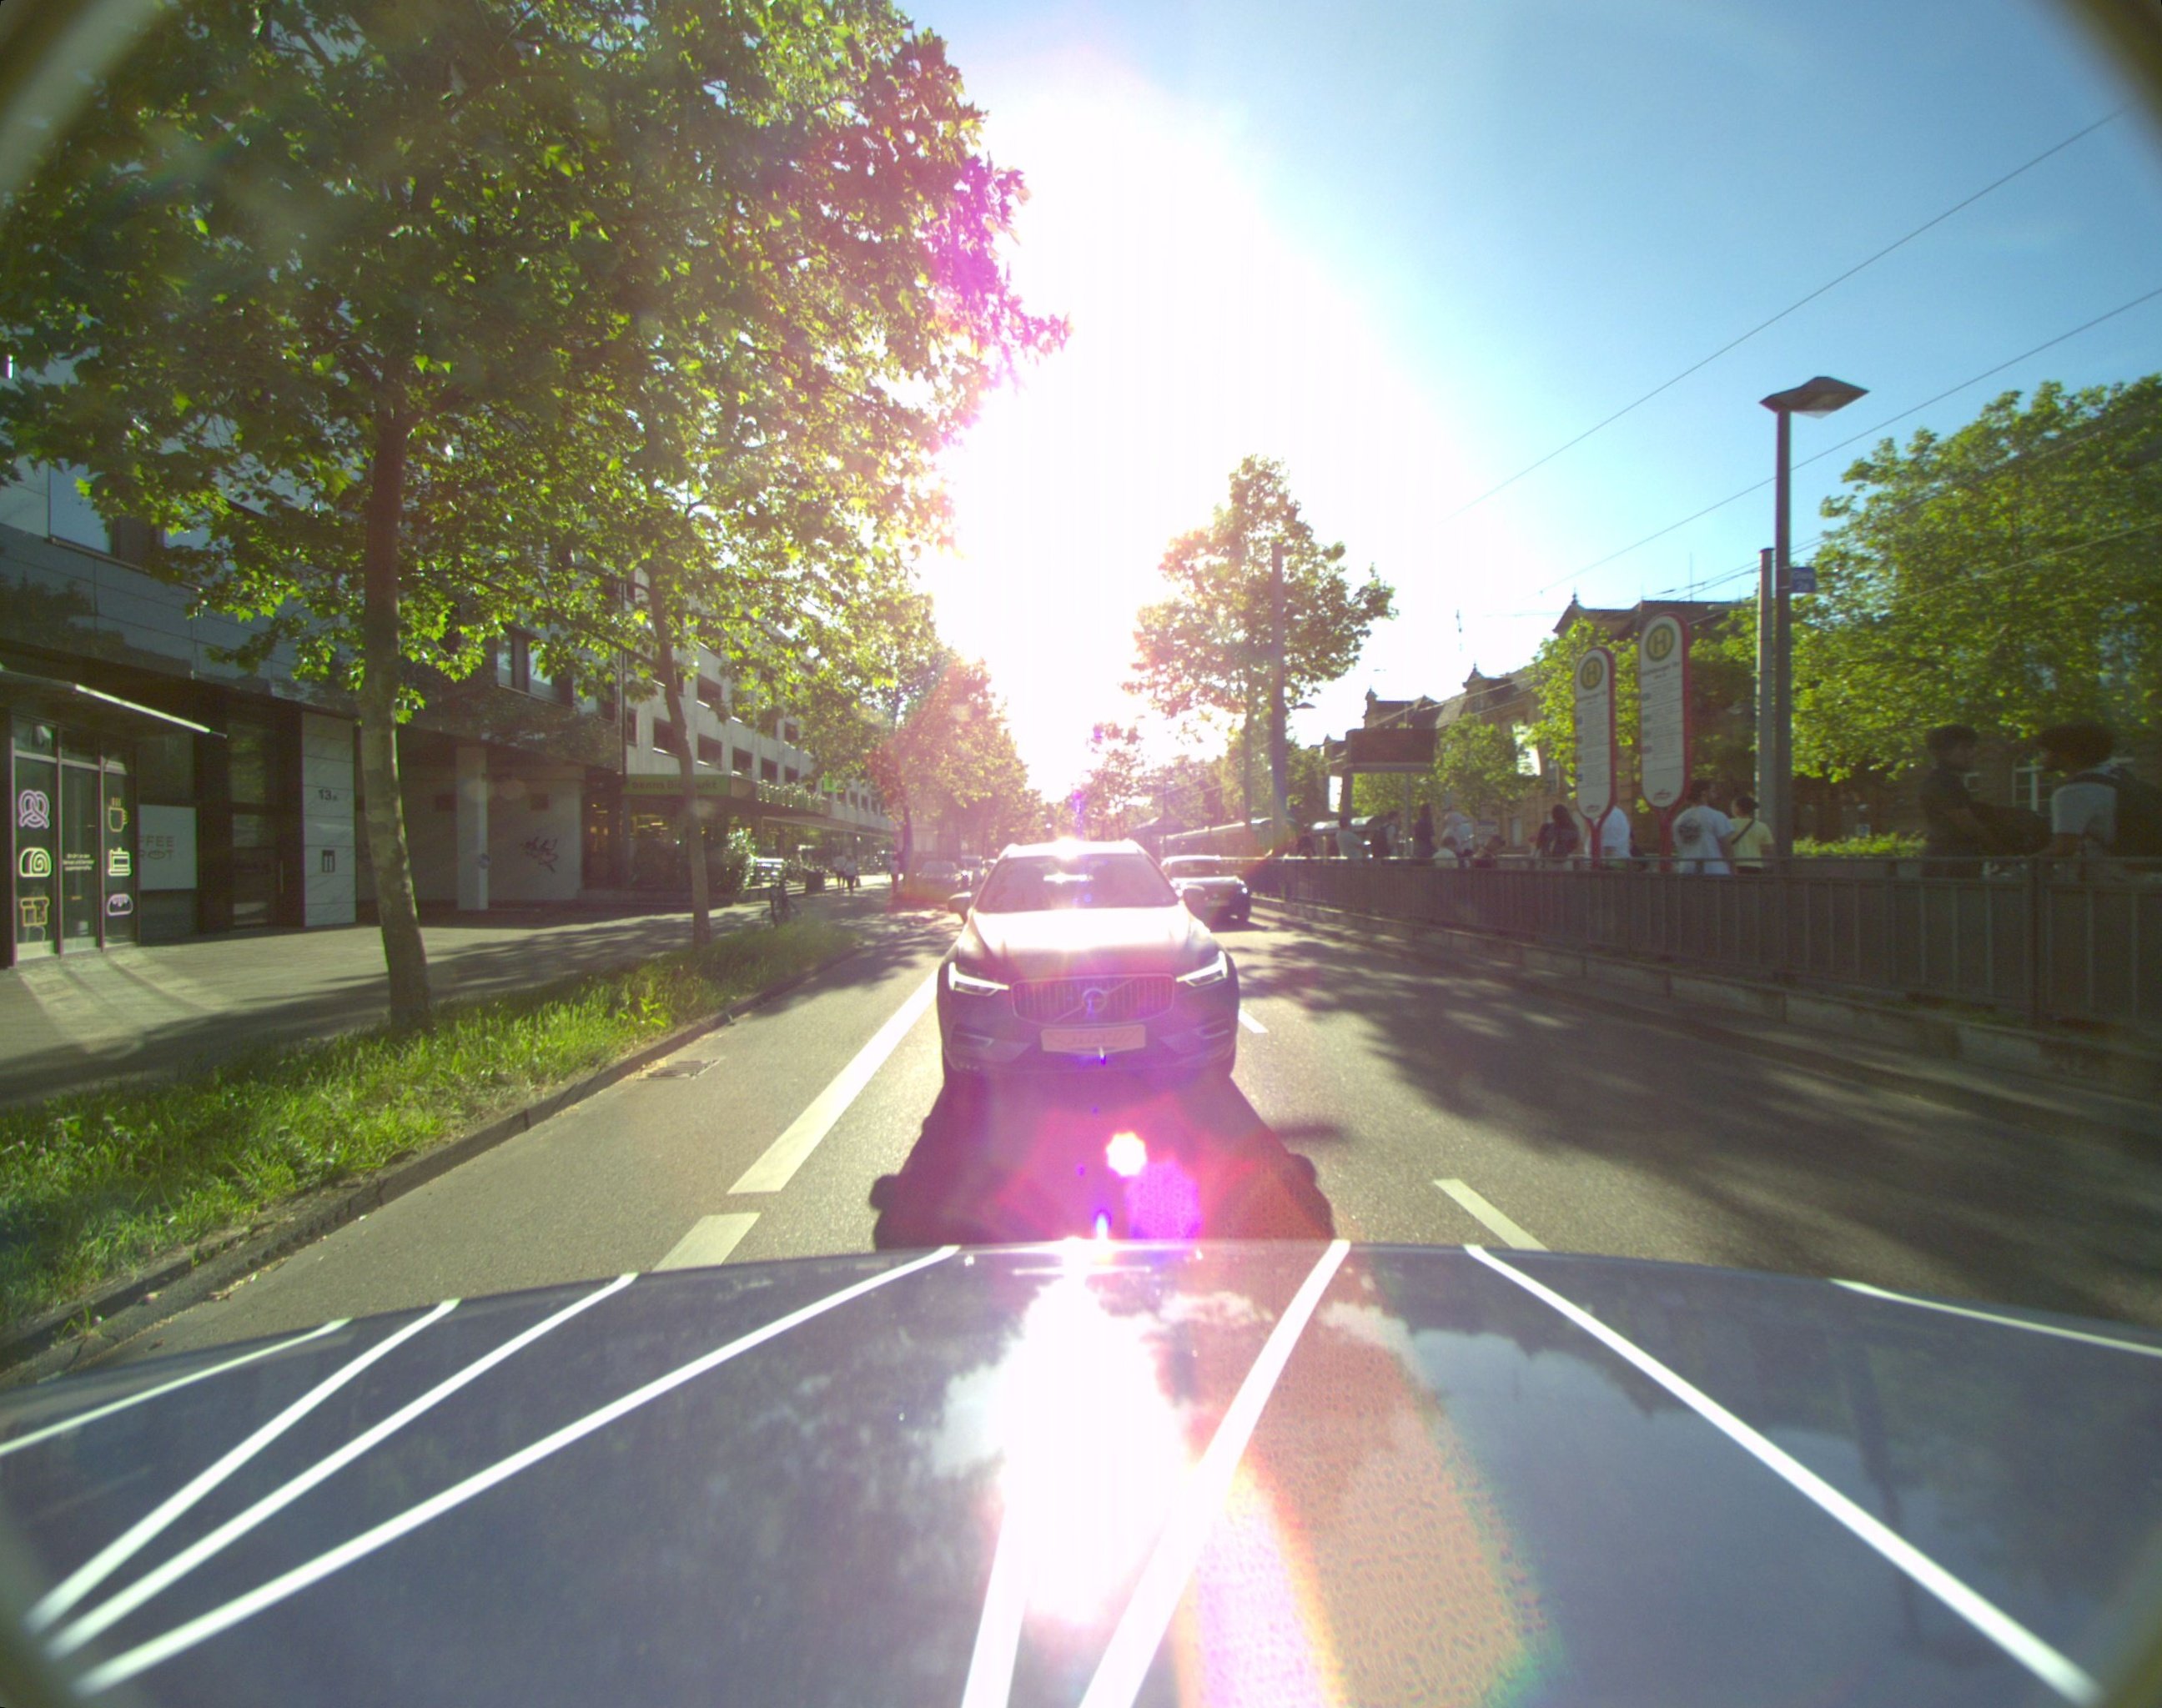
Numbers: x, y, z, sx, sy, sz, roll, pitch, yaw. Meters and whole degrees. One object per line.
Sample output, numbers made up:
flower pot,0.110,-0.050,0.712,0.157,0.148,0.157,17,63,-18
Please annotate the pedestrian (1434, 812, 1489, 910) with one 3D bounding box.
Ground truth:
pedestrian,6.563,0.115,13.125,0.620,1.640,0.622,0,1,-7

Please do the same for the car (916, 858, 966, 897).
car,-5.978,0.962,32.871,1.569,1.541,3.999,-1,0,-2

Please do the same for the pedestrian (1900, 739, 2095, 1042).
pedestrian,5.542,0.208,4.619,0.549,1.724,0.539,0,1,-7

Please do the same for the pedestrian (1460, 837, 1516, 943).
pedestrian,5.164,0.450,9.651,0.417,1.308,0.507,0,1,-5

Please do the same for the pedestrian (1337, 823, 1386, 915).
pedestrian,5.074,0.261,13.747,0.662,1.624,0.570,0,1,-2

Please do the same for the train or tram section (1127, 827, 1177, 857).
train or tram section,6.505,-1.005,71.742,2.570,2.516,15.068,-1,0,-3

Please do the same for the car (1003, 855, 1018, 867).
car,-9.842,0.958,106.657,1.839,1.556,4.272,-2,0,-3

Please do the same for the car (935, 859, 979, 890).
car,-6.462,1.028,39.934,1.766,1.409,4.698,-1,0,-4

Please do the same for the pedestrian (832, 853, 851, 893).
pedestrian,-10.358,0.817,32.898,0.561,1.734,0.878,0,1,-3

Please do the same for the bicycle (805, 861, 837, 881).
bicycle,-14.448,0.962,42.258,1.700,1.049,0.587,2,0,24

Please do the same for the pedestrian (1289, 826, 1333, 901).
pedestrian,5.470,0.229,18.088,0.778,1.742,0.723,0,1,-6

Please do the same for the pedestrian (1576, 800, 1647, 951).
pedestrian,6.209,0.244,8.914,0.610,1.692,0.508,0,1,27

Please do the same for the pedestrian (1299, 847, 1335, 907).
pedestrian,4.941,0.472,15.942,0.535,1.239,0.604,0,1,-5

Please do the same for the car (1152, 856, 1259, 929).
car,2.737,0.799,17.507,1.707,1.407,3.875,-2,0,-1

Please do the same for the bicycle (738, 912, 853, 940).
bicycle,-5.132,1.292,13.801,1.613,0.351,1.388,0,0,-3

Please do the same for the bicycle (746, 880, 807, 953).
bicycle,-5.378,1.070,13.511,0.791,1.126,1.843,0,0,-15

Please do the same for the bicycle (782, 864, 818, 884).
bicycle,-13.788,0.965,37.279,1.648,0.910,0.587,1,-2,24

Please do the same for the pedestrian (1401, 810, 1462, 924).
pedestrian,5.322,0.198,11.571,0.662,1.686,0.570,0,1,-2

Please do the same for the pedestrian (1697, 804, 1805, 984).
pedestrian,6.851,0.393,7.788,0.555,1.760,0.611,0,1,-7

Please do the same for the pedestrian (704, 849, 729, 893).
pedestrian,-14.409,0.661,30.018,0.559,1.668,0.882,2,1,-3

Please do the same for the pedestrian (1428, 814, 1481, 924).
pedestrian,5.922,0.232,12.080,0.516,1.698,0.621,0,1,-3

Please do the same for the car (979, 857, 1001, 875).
car,-7.804,1.022,65.162,1.678,1.430,3.688,2,1,-4

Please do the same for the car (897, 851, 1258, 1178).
car,-0.115,0.851,6.244,1.914,1.695,4.272,-2,1,-3

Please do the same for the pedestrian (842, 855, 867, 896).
pedestrian,-9.020,0.854,30.255,0.699,1.603,0.868,1,0,-1

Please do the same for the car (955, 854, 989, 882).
car,-7.041,0.870,49.574,1.769,1.781,4.392,0,0,-3

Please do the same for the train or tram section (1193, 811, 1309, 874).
train or tram section,10.763,-0.643,51.273,2.857,3.414,18.209,-2,0,-3

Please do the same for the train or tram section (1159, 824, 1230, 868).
train or tram section,9.940,-0.640,69.505,2.879,3.414,18.270,-2,0,-3

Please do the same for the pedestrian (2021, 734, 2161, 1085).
pedestrian,5.437,0.272,3.966,0.548,1.724,0.541,0,1,38

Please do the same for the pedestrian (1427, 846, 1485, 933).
pedestrian,5.257,0.483,10.679,0.546,1.185,0.530,0,1,-3

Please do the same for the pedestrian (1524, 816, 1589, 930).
pedestrian,6.459,0.250,10.344,0.546,1.510,0.530,0,1,-3

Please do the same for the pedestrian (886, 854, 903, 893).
pedestrian,-8.105,0.829,33.063,0.561,1.694,1.051,0,0,-3

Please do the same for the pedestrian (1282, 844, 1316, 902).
pedestrian,4.869,0.418,16.998,0.535,1.292,0.604,0,1,-6

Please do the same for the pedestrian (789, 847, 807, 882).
pedestrian,-14.340,0.553,38.456,0.614,1.705,0.611,6,-1,-27

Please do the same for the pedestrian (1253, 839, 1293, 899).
pedestrian,4.911,0.366,19.443,0.778,1.501,0.751,0,1,-6

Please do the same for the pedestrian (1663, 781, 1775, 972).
pedestrian,5.892,0.197,7.042,0.507,1.692,0.611,0,1,-7

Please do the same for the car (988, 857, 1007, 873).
car,-8.273,1.067,75.547,1.630,1.433,3.929,1,0,-3

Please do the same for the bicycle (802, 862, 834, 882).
bicycle,-14.306,0.977,41.327,1.700,1.049,0.587,1,-1,24

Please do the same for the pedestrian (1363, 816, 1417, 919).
pedestrian,5.146,0.219,12.671,0.662,1.686,0.570,0,1,-2
